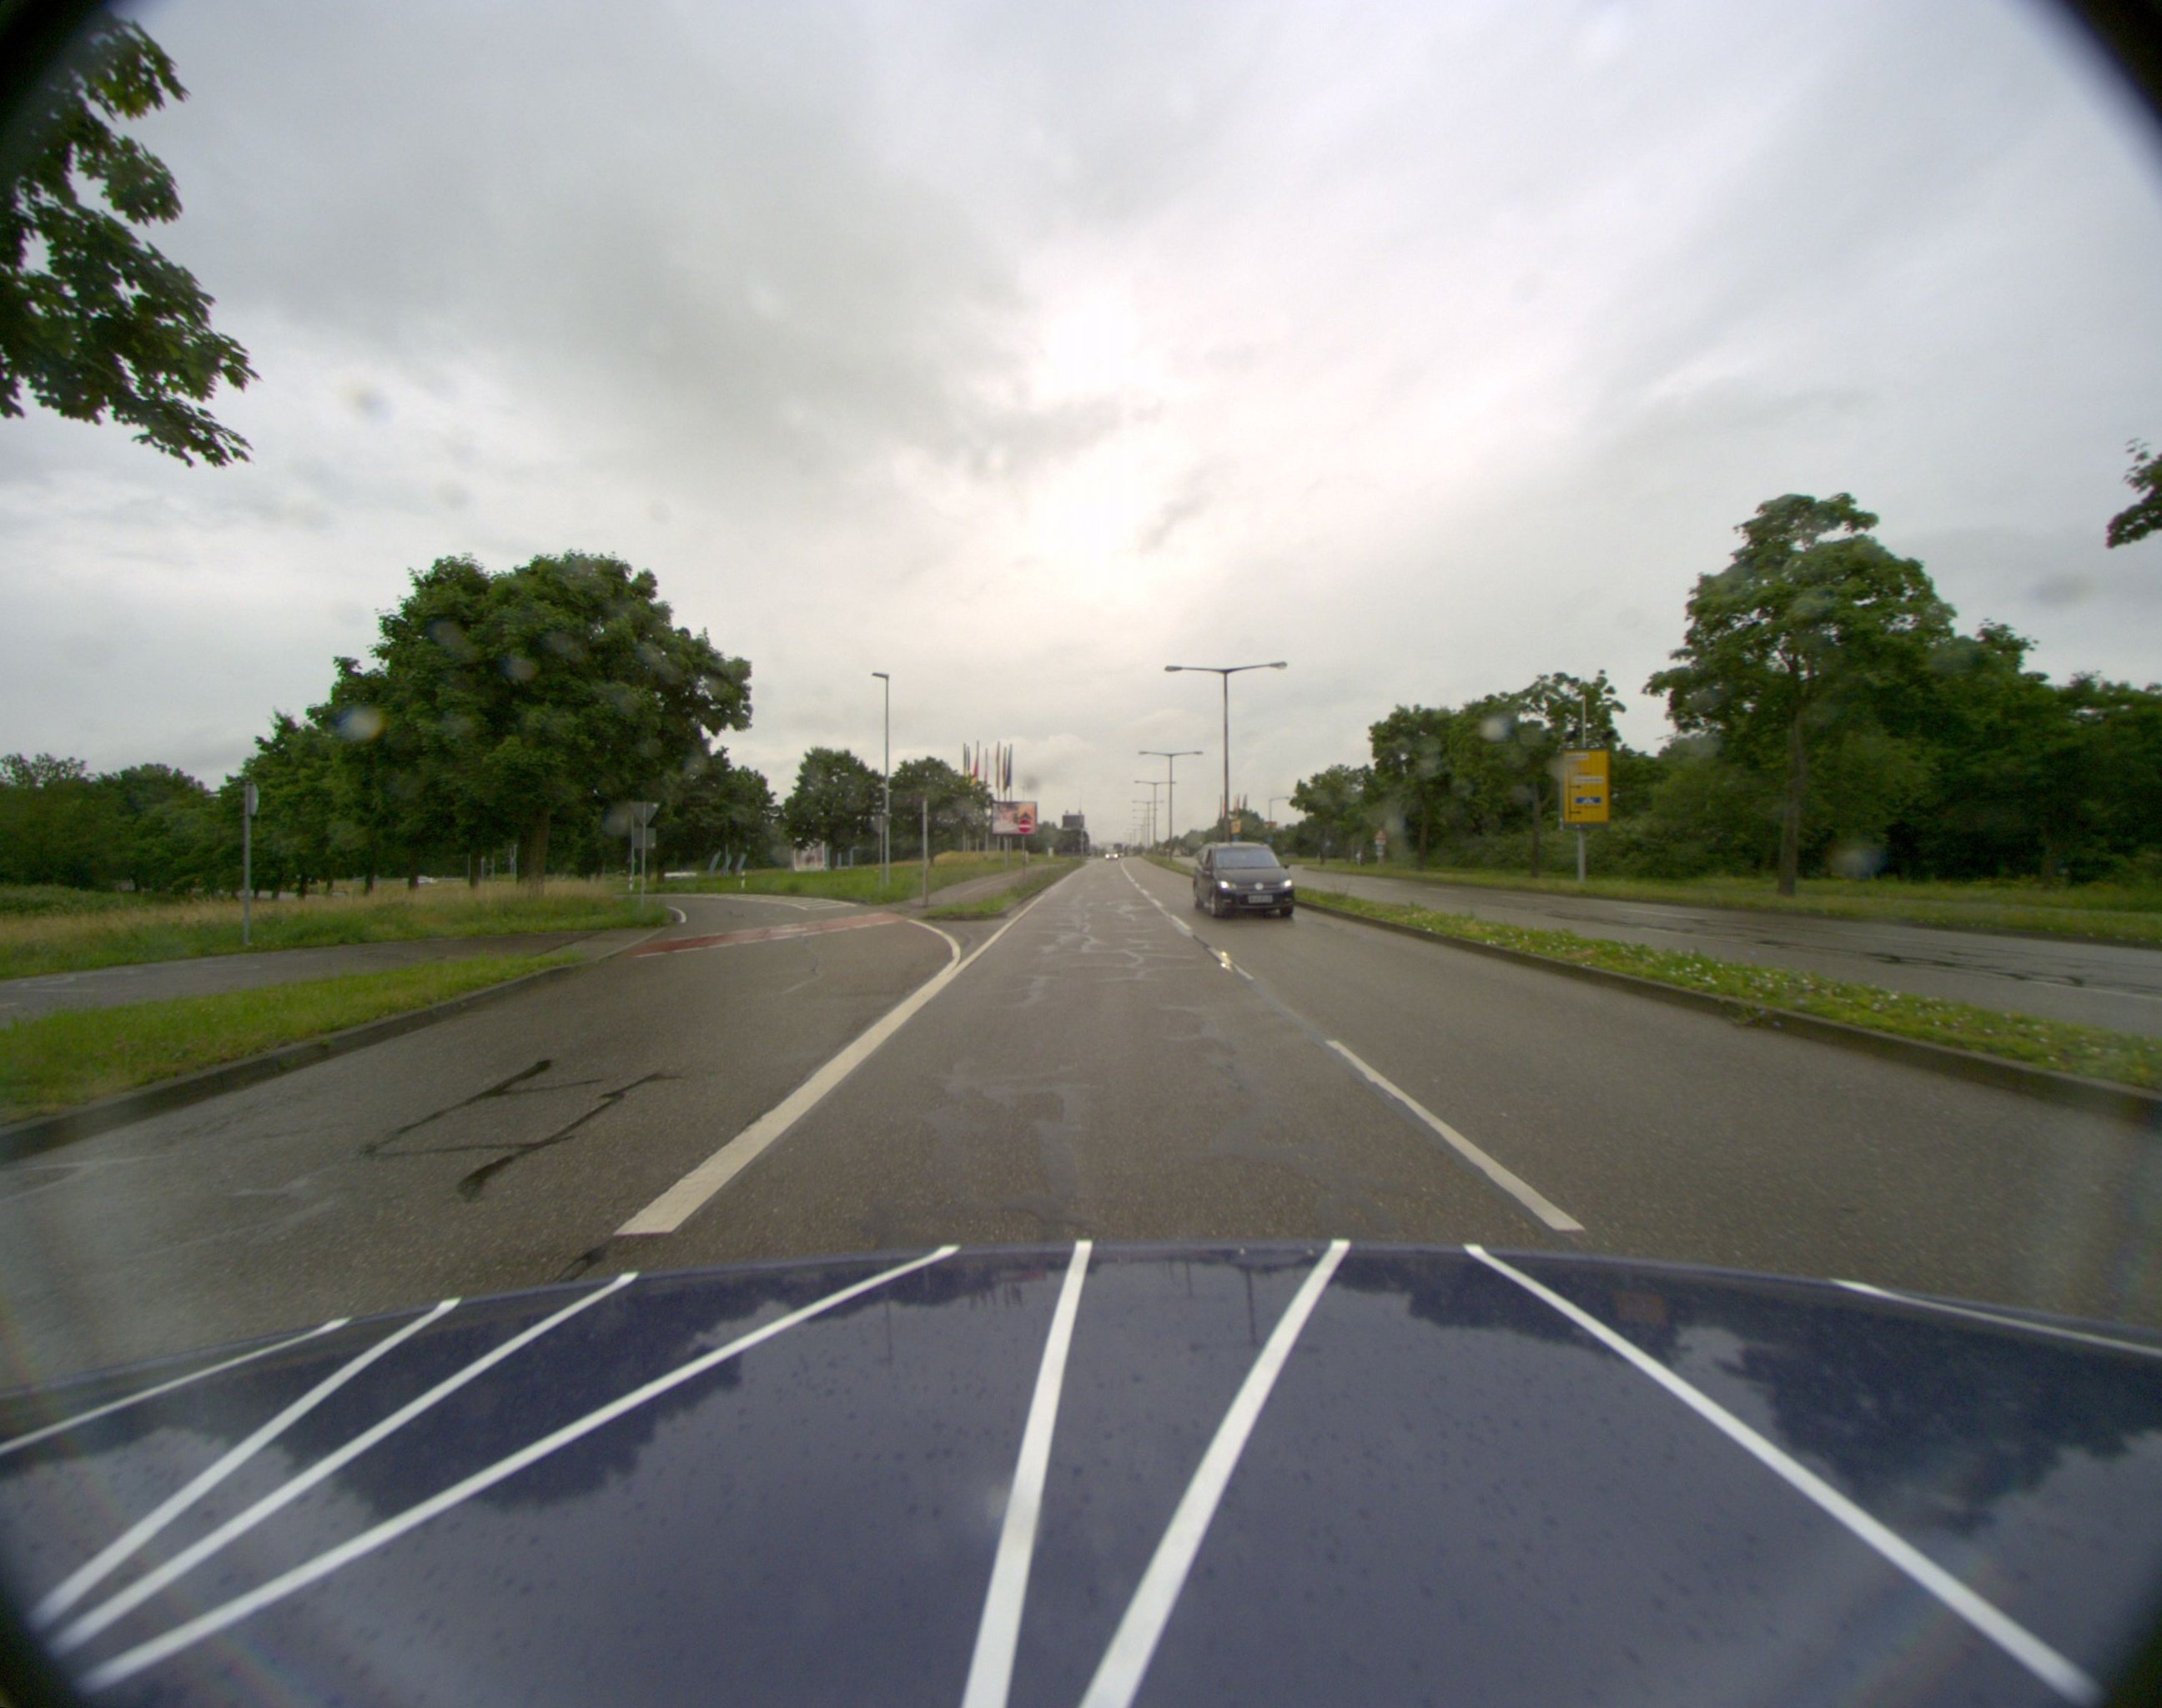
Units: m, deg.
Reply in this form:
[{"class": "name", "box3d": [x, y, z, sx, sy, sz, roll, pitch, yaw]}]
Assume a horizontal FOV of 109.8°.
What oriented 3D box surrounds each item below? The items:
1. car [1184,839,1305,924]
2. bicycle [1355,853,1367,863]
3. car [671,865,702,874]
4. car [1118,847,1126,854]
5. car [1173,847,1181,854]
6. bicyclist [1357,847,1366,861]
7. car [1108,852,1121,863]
[{"class": "car", "box3d": [3.823, 0.590, 18.685, 1.850, 1.740, 4.817, -3, 0, 0]}, {"class": "bicycle", "box3d": [25.502, 0.378, 69.155, 0.523, 0.881, 1.633, -2, 1, 3]}, {"class": "car", "box3d": [-82.281, 3.208, 158.584, 5.293, 1.597, 2.237, -1, 0, -18]}, {"class": "car", "box3d": [10.741, -0.903, 197.841, 1.998, 1.703, 4.000, -1, 0, 2]}, {"class": "car", "box3d": [25.328, -0.873, 199.872, 1.711, 1.620, 4.493, 2, 0, 3]}, {"class": "bicyclist", "box3d": [25.490, -0.007, 69.143, 0.523, 1.295, 0.808, -2, 1, 3]}, {"class": "car", "box3d": [5.389, 0.528, 121.709, 1.998, 1.701, 4.000, -1, 0, 2]}]
